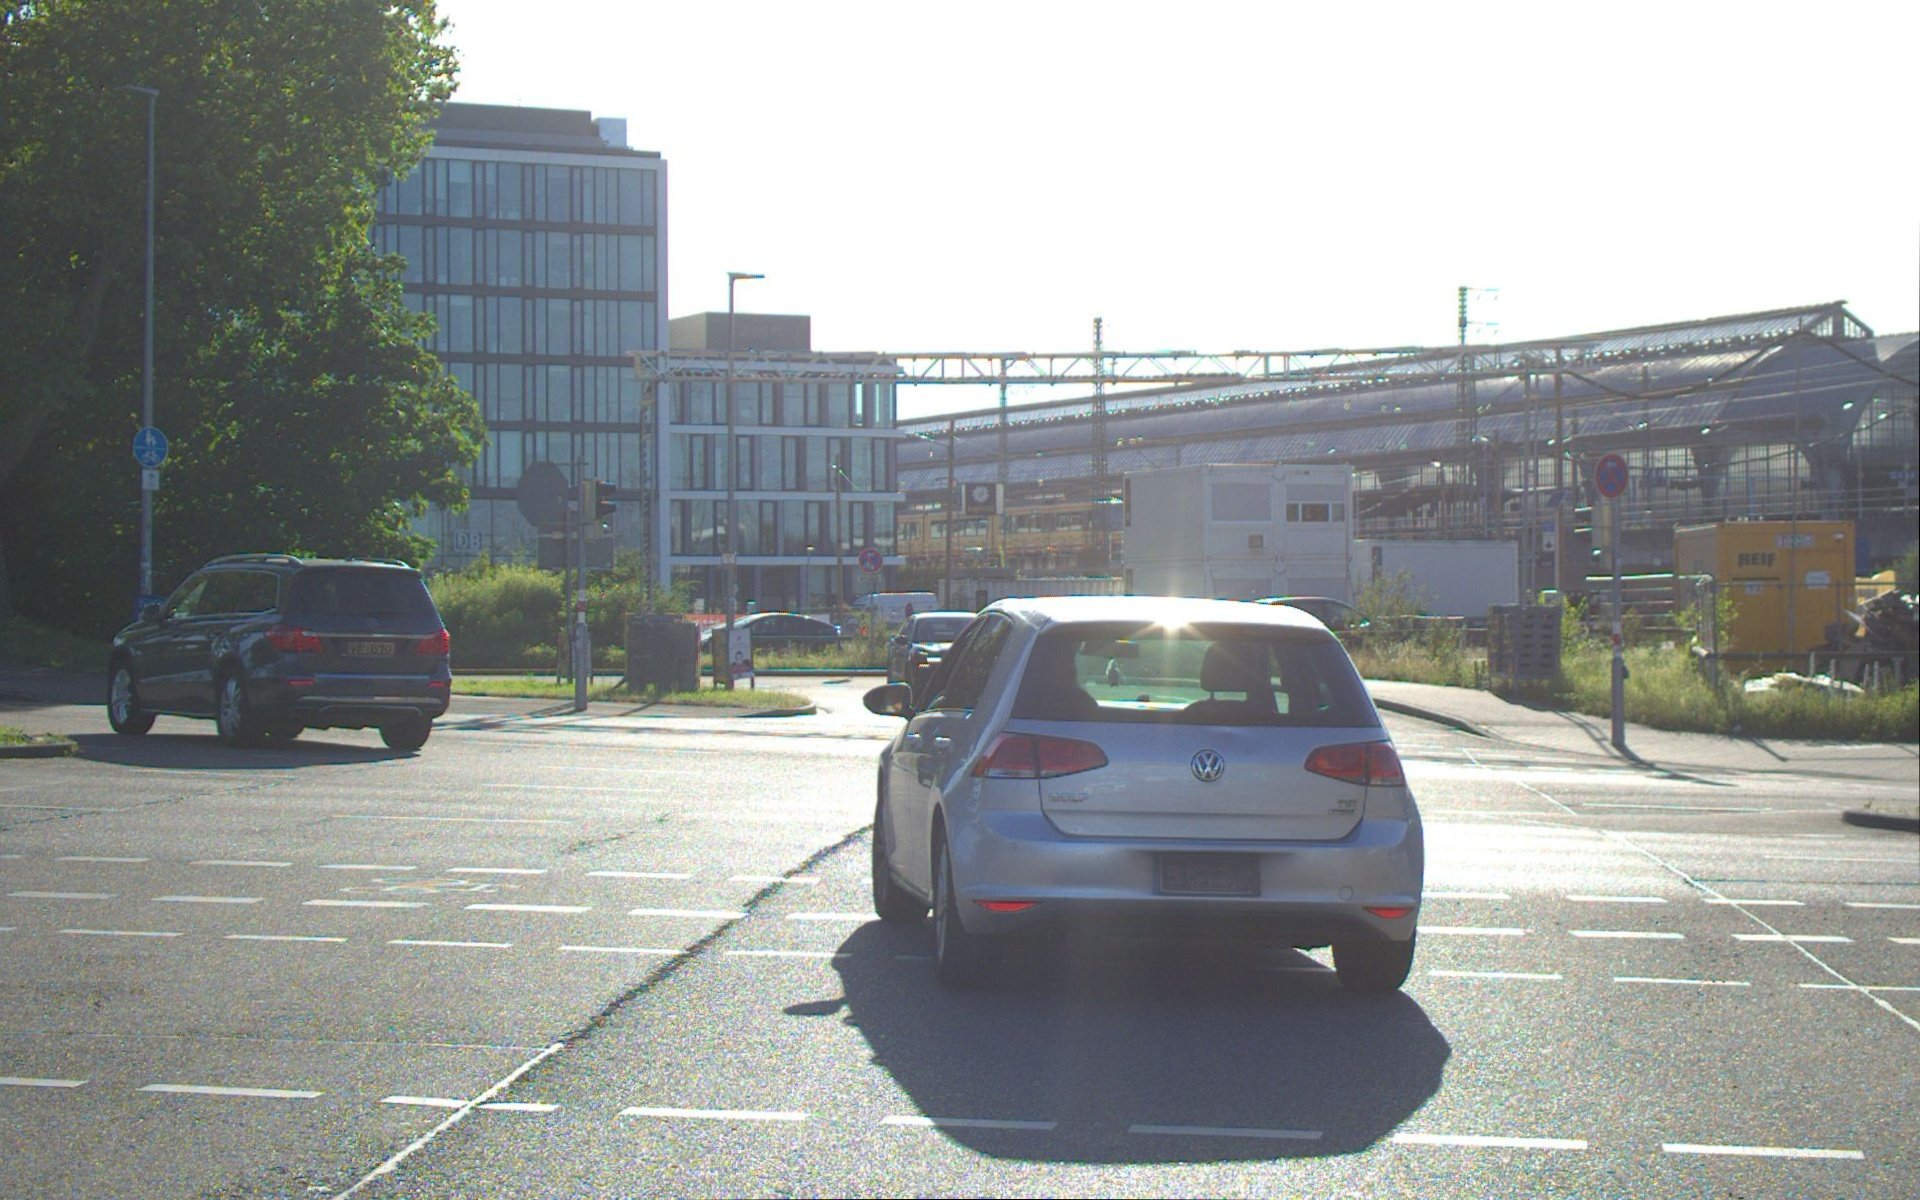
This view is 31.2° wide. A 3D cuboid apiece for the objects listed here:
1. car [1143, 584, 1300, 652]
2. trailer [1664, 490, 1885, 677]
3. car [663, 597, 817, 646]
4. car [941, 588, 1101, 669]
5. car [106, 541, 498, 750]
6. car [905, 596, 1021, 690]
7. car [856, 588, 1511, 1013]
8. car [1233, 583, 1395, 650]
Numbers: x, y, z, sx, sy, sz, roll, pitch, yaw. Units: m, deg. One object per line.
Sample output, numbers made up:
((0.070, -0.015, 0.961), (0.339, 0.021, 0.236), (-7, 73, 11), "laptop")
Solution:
((7.263, 0.496, 95.533), (3.985, 1.782, 1.656), (1, 0, -16), "car")
((15.224, -0.284, 64.711), (2.996, 3.281, 6.666), (1, 0, 5), "trailer")
((-8.561, 0.849, 133.879), (5.703, 1.838, 1.917), (1, 0, -30), "car")
((1.131, 0.535, 66.245), (1.747, 1.471, 4.001), (0, 0, -20), "car")
((-6.492, 0.399, 33.482), (2.112, 1.881, 4.812), (0, 0, -32), "car")
((0.019, 0.686, 57.483), (1.748, 1.471, 4.000), (1, 0, -3), "car")
((0.715, 0.683, 13.727), (1.970, 1.422, 3.937), (0, 0, -6), "car")
((9.481, 0.448, 92.118), (3.985, 1.700, 1.616), (1, 0, -16), "car")
